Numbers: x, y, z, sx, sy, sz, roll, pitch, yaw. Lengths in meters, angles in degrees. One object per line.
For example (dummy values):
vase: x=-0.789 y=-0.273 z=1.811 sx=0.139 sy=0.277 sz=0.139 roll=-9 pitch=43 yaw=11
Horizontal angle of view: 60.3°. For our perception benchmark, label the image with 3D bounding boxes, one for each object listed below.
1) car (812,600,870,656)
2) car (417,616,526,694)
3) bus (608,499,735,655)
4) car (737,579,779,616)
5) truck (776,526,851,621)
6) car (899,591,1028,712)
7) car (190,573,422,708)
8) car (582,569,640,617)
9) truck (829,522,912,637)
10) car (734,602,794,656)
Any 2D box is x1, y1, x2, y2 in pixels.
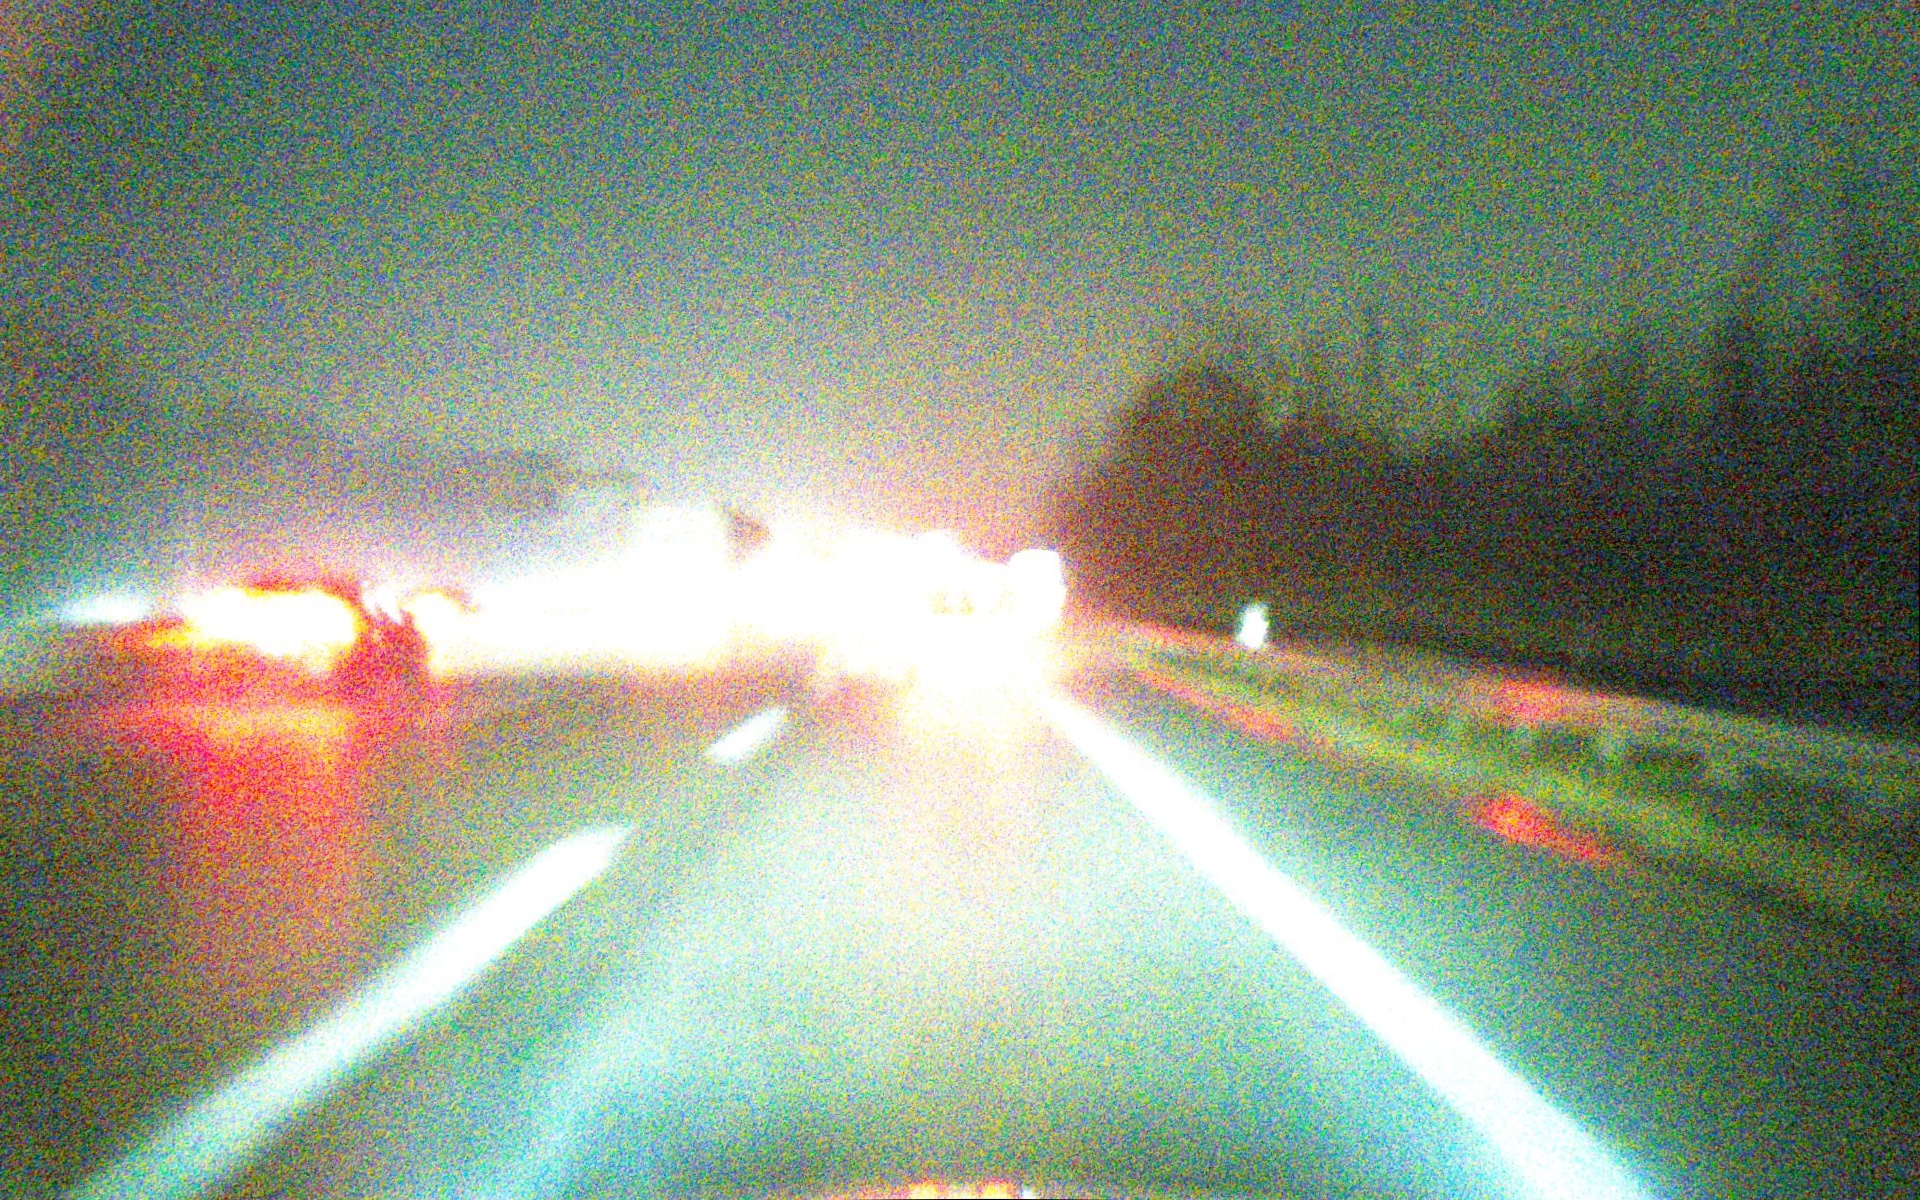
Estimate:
car: x=-4.545 y=1.051 z=63.562 sx=2.084 sy=2.049 sz=4.642 roll=1 pitch=0 yaw=-4
car: x=-11.229 y=1.229 z=38.267 sx=1.661 sy=1.679 sz=3.836 roll=1 pitch=0 yaw=-5
bus: x=-9.325 y=-0.646 z=54.707 sx=3.036 sy=4.587 sz=10.902 roll=1 pitch=0 yaw=-5
car: x=-10.406 y=-0.104 z=85.445 sx=1.954 sy=1.839 sz=3.996 roll=1 pitch=0 yaw=-4
truck: x=-9.350 y=-1.583 z=106.968 sx=4.125 sy=5.747 sz=11.462 roll=1 pitch=0 yaw=-2
car: x=0.011 y=0.804 z=27.551 sx=1.953 sy=1.839 sz=3.999 roll=1 pitch=0 yaw=-1
car: x=-8.651 y=0.508 z=22.263 sx=1.956 sy=1.624 sz=3.993 roll=1 pitch=0 yaw=-8
car: x=-13.986 y=-0.268 z=66.436 sx=1.956 sy=1.825 sz=3.993 roll=1 pitch=0 yaw=-8
truck: x=-4.689 y=-1.006 z=89.120 sx=4.125 sy=5.747 sz=11.462 roll=1 pitch=0 yaw=-2
car: x=-7.097 y=1.033 z=60.230 sx=1.954 sy=1.839 sz=3.996 roll=1 pitch=0 yaw=-4
